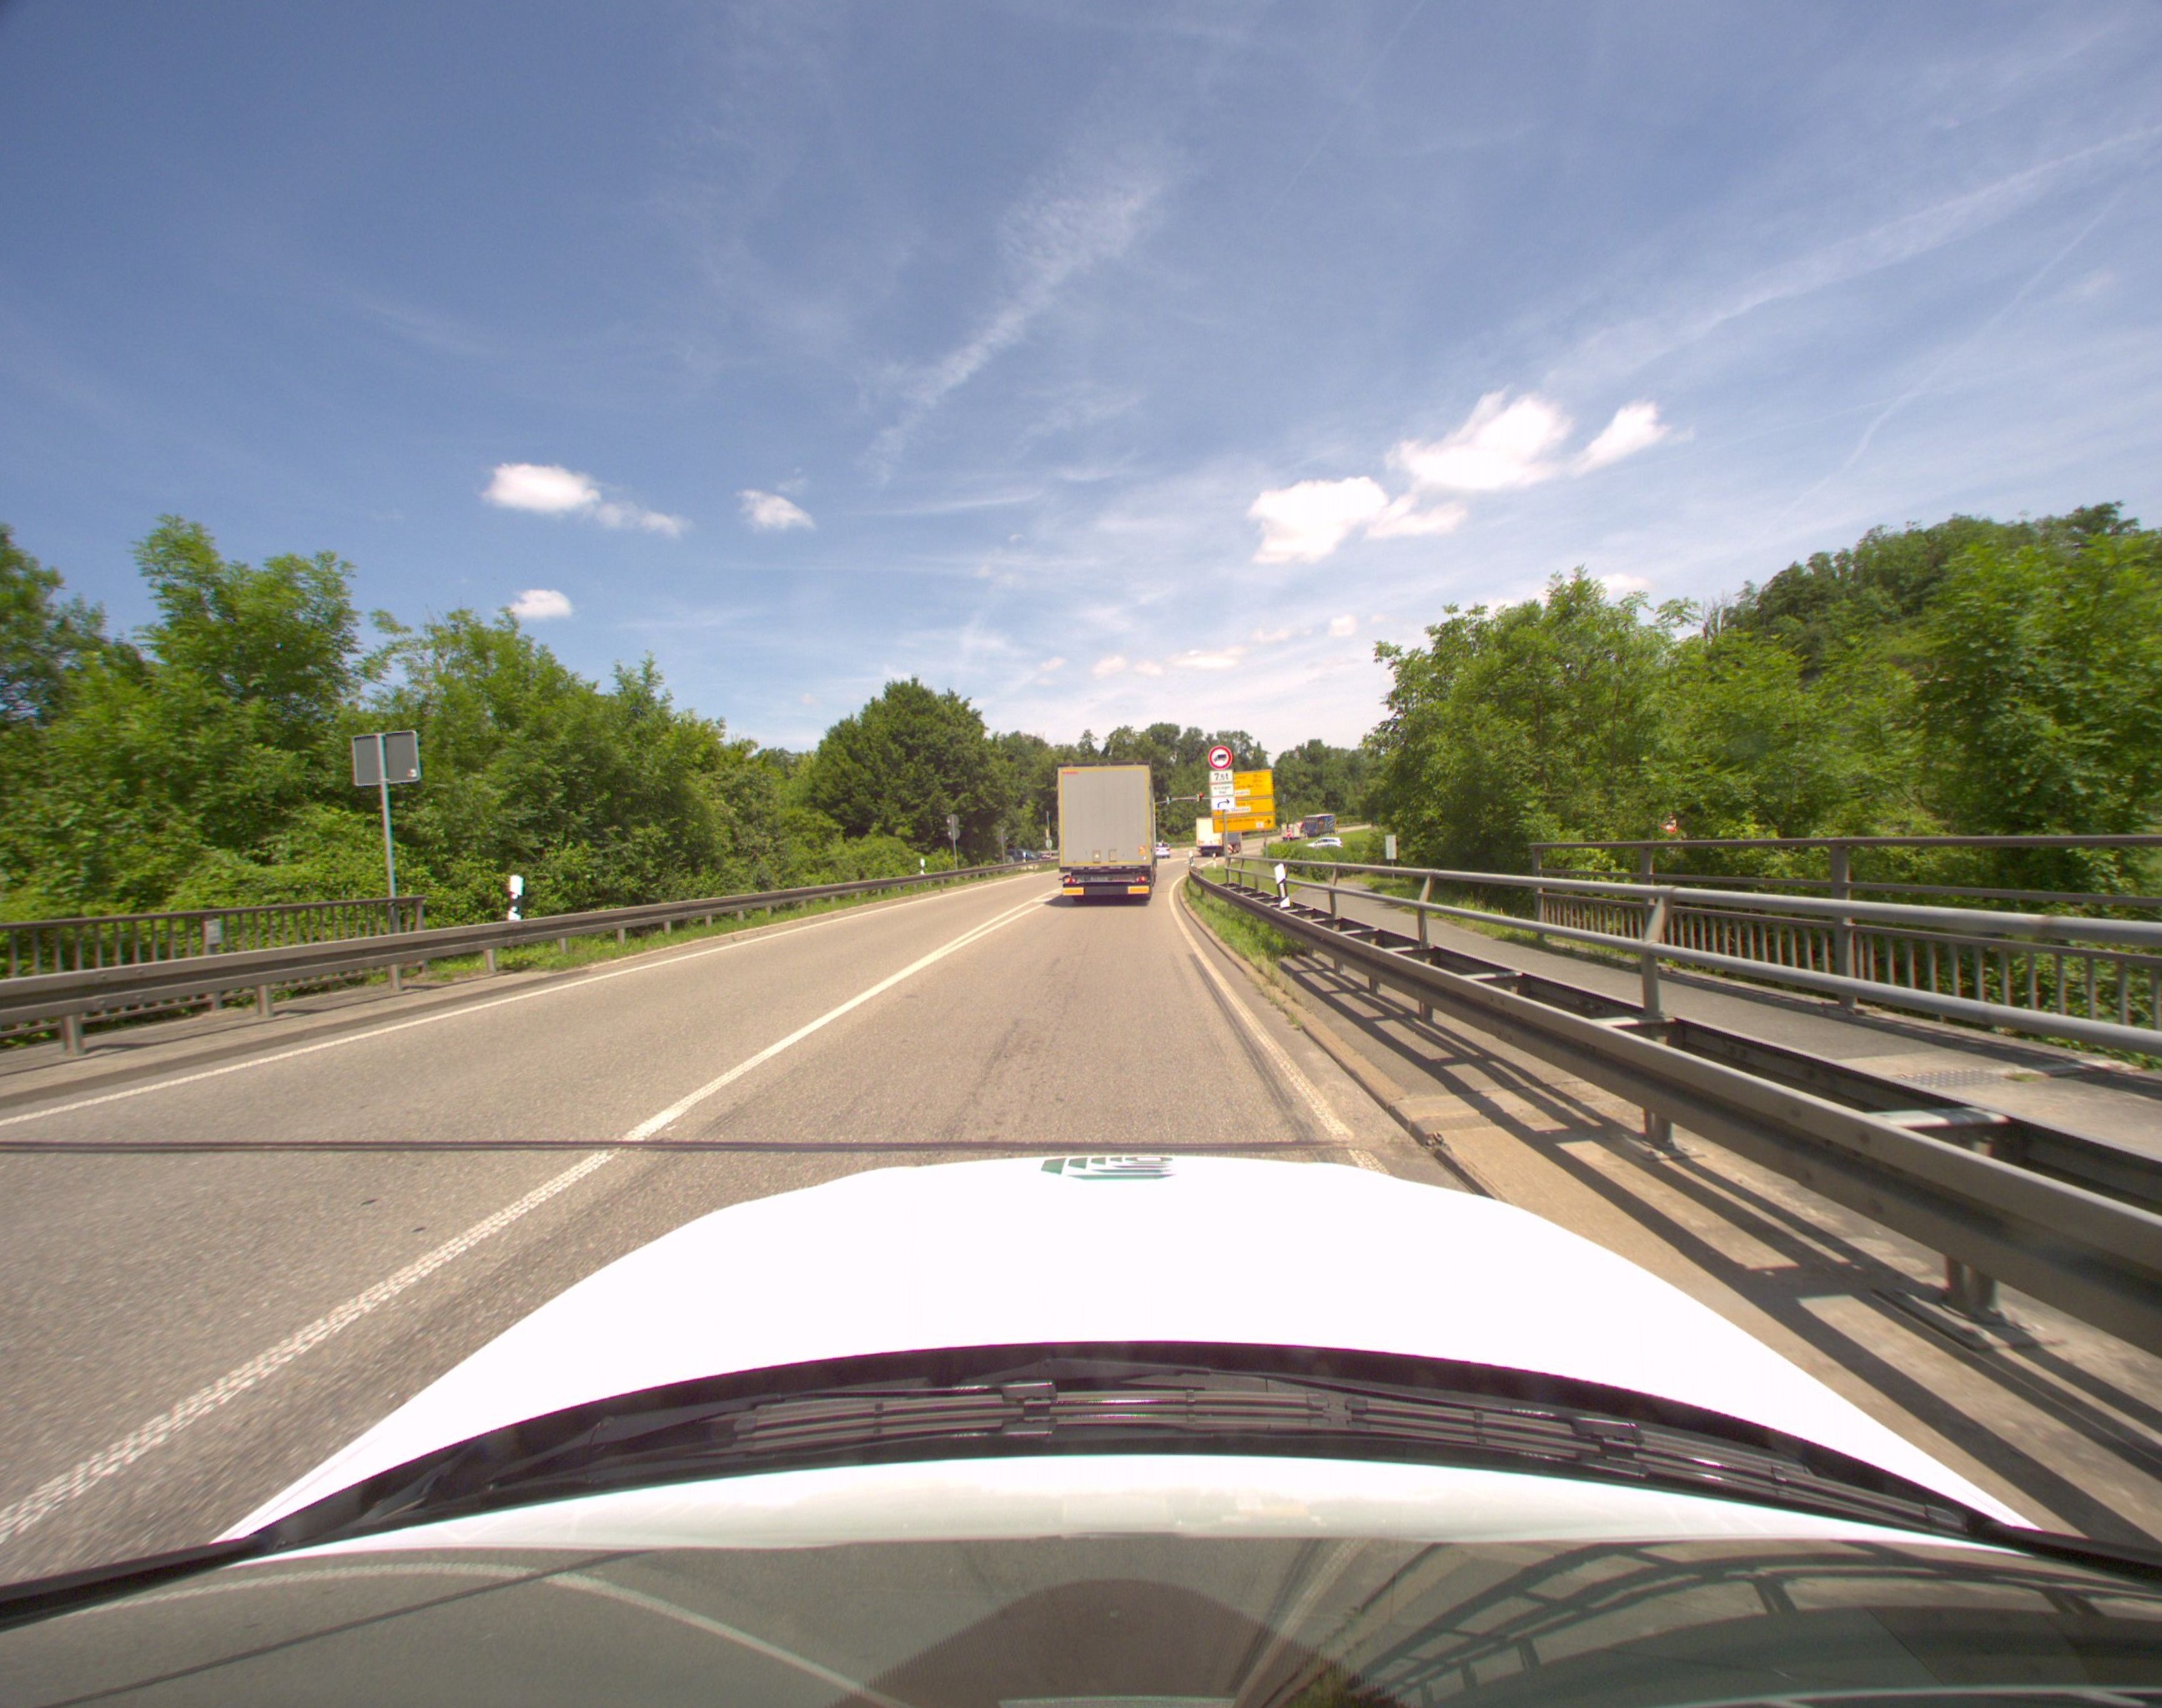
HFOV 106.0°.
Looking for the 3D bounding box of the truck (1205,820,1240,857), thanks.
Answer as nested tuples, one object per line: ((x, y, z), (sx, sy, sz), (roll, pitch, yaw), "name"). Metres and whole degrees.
((16.023, -1.735, 92.210), (3.144, 4.004, 5.840), (-1, 0, 16), "truck")

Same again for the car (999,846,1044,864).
((-6.279, 0.114, 86.171), (4.198, 1.770, 2.010), (-2, 0, 20), "car")

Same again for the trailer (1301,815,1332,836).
((44.673, -5.346, 154.343), (3.220, 3.685, 9.310), (-1, 1, 32), "trailer")

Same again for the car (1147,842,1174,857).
((8.160, -0.429, 83.412), (1.978, 1.519, 4.016), (-1, -1, 16), "car")

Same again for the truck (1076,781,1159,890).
((1.640, -0.717, 34.284), (3.024, 4.033, 6.637), (-2, 0, 4), "truck")

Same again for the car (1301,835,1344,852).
((26.088, -1.122, 88.219), (4.395, 1.718, 2.008), (-1, -1, 15), "car")

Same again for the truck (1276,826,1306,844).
((35.899, -3.219, 139.260), (2.828, 2.947, 7.150), (-1, 1, 32), "truck")

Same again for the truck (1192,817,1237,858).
((14.359, -1.688, 86.698), (3.154, 4.029, 11.796), (-1, 0, 17), "truck")

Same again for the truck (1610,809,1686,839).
((55.926, -2.932, 80.558), (5.953, 2.728, 2.517), (-1, -1, 30), "truck")

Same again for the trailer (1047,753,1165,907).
((1.139, -0.660, 27.941), (3.038, 4.033, 12.574), (-2, 0, 4), "trailer")
